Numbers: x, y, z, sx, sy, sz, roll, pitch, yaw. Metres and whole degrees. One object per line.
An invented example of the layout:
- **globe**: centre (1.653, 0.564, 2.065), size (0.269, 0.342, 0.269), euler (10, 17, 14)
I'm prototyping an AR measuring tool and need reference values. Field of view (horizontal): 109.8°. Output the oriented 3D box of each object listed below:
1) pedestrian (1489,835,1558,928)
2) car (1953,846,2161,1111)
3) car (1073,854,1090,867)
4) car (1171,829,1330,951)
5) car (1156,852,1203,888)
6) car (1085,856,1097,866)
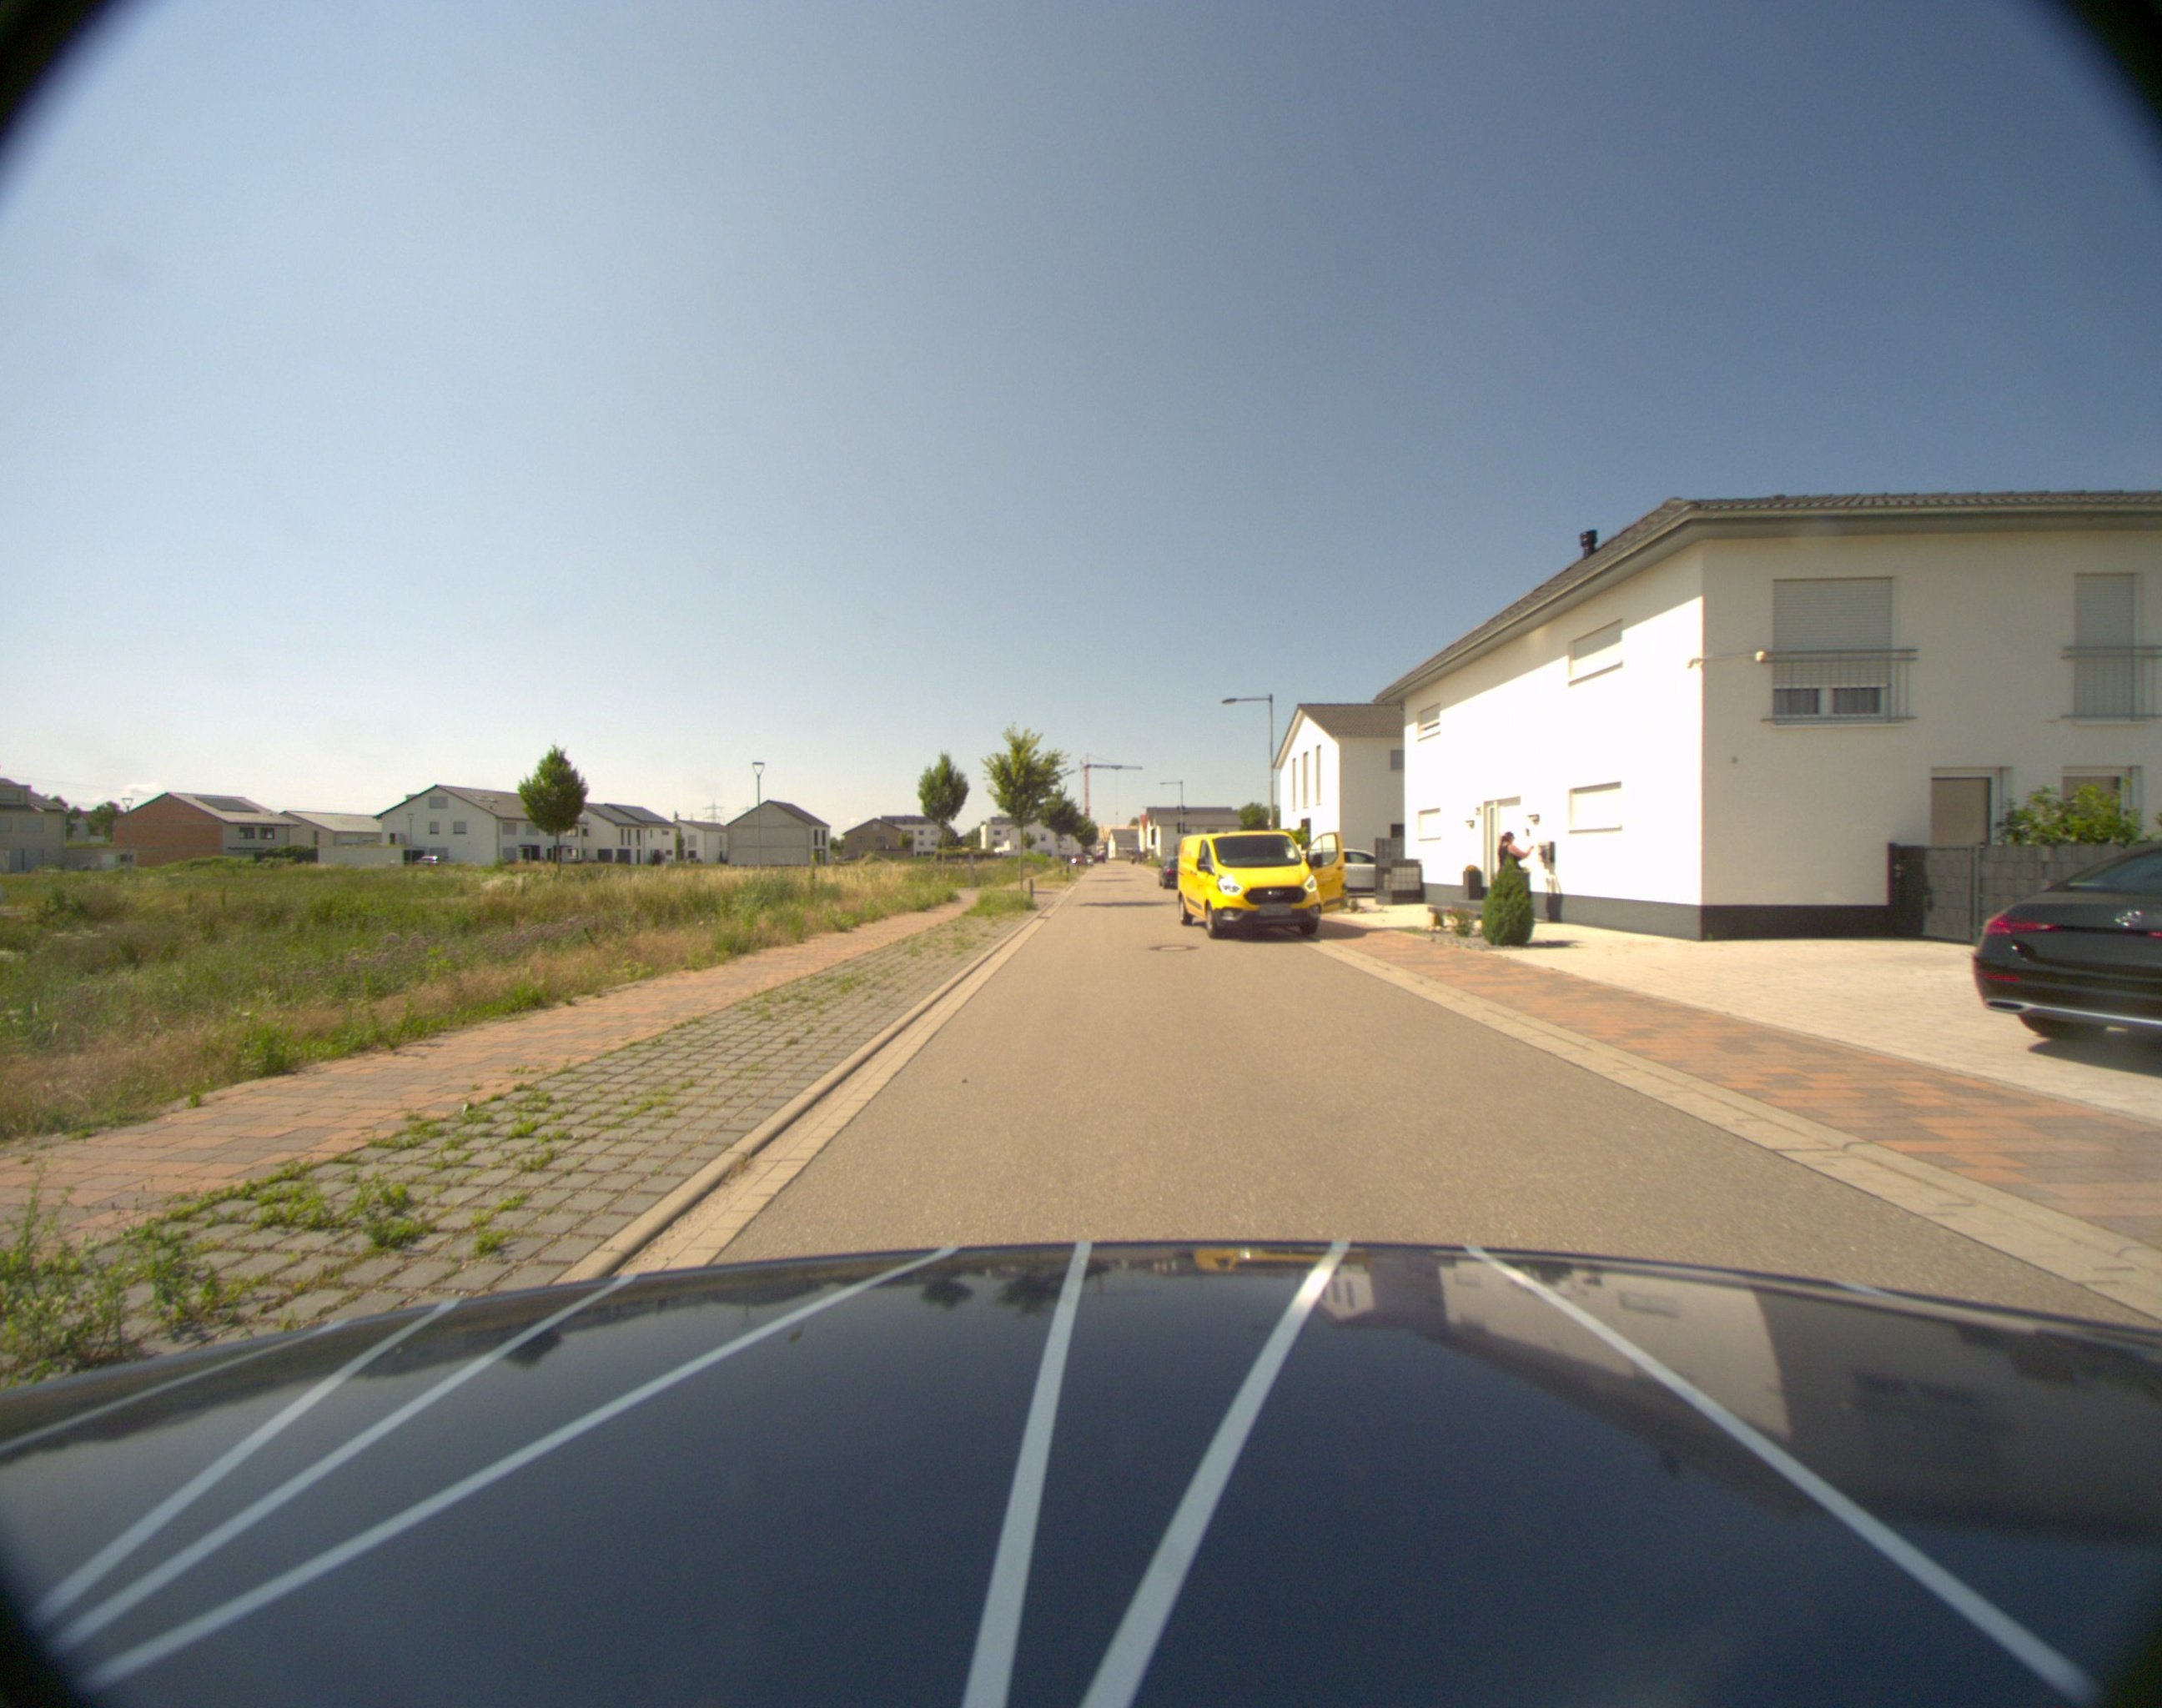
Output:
- **pedestrian**: centre (8.233, 0.506, 14.159), size (0.931, 1.675, 0.537), euler (-3, 1, 11)
- **car**: centre (8.237, 0.660, 4.718), size (4.408, 1.444, 1.747), euler (-2, 1, -11)
- **car**: centre (0.079, 0.710, 86.872), size (1.768, 1.483, 4.000), euler (-1, 0, 2)
- **car**: centre (3.169, 0.599, 15.298), size (1.889, 2.002, 4.840), euler (-2, 0, -2)
- **car**: centre (4.436, 0.694, 34.861), size (1.694, 1.464, 4.445), euler (-2, 0, 2)
- **car**: centre (1.416, 0.932, 106.720), size (1.493, 1.389, 3.272), euler (-1, 0, 2)
